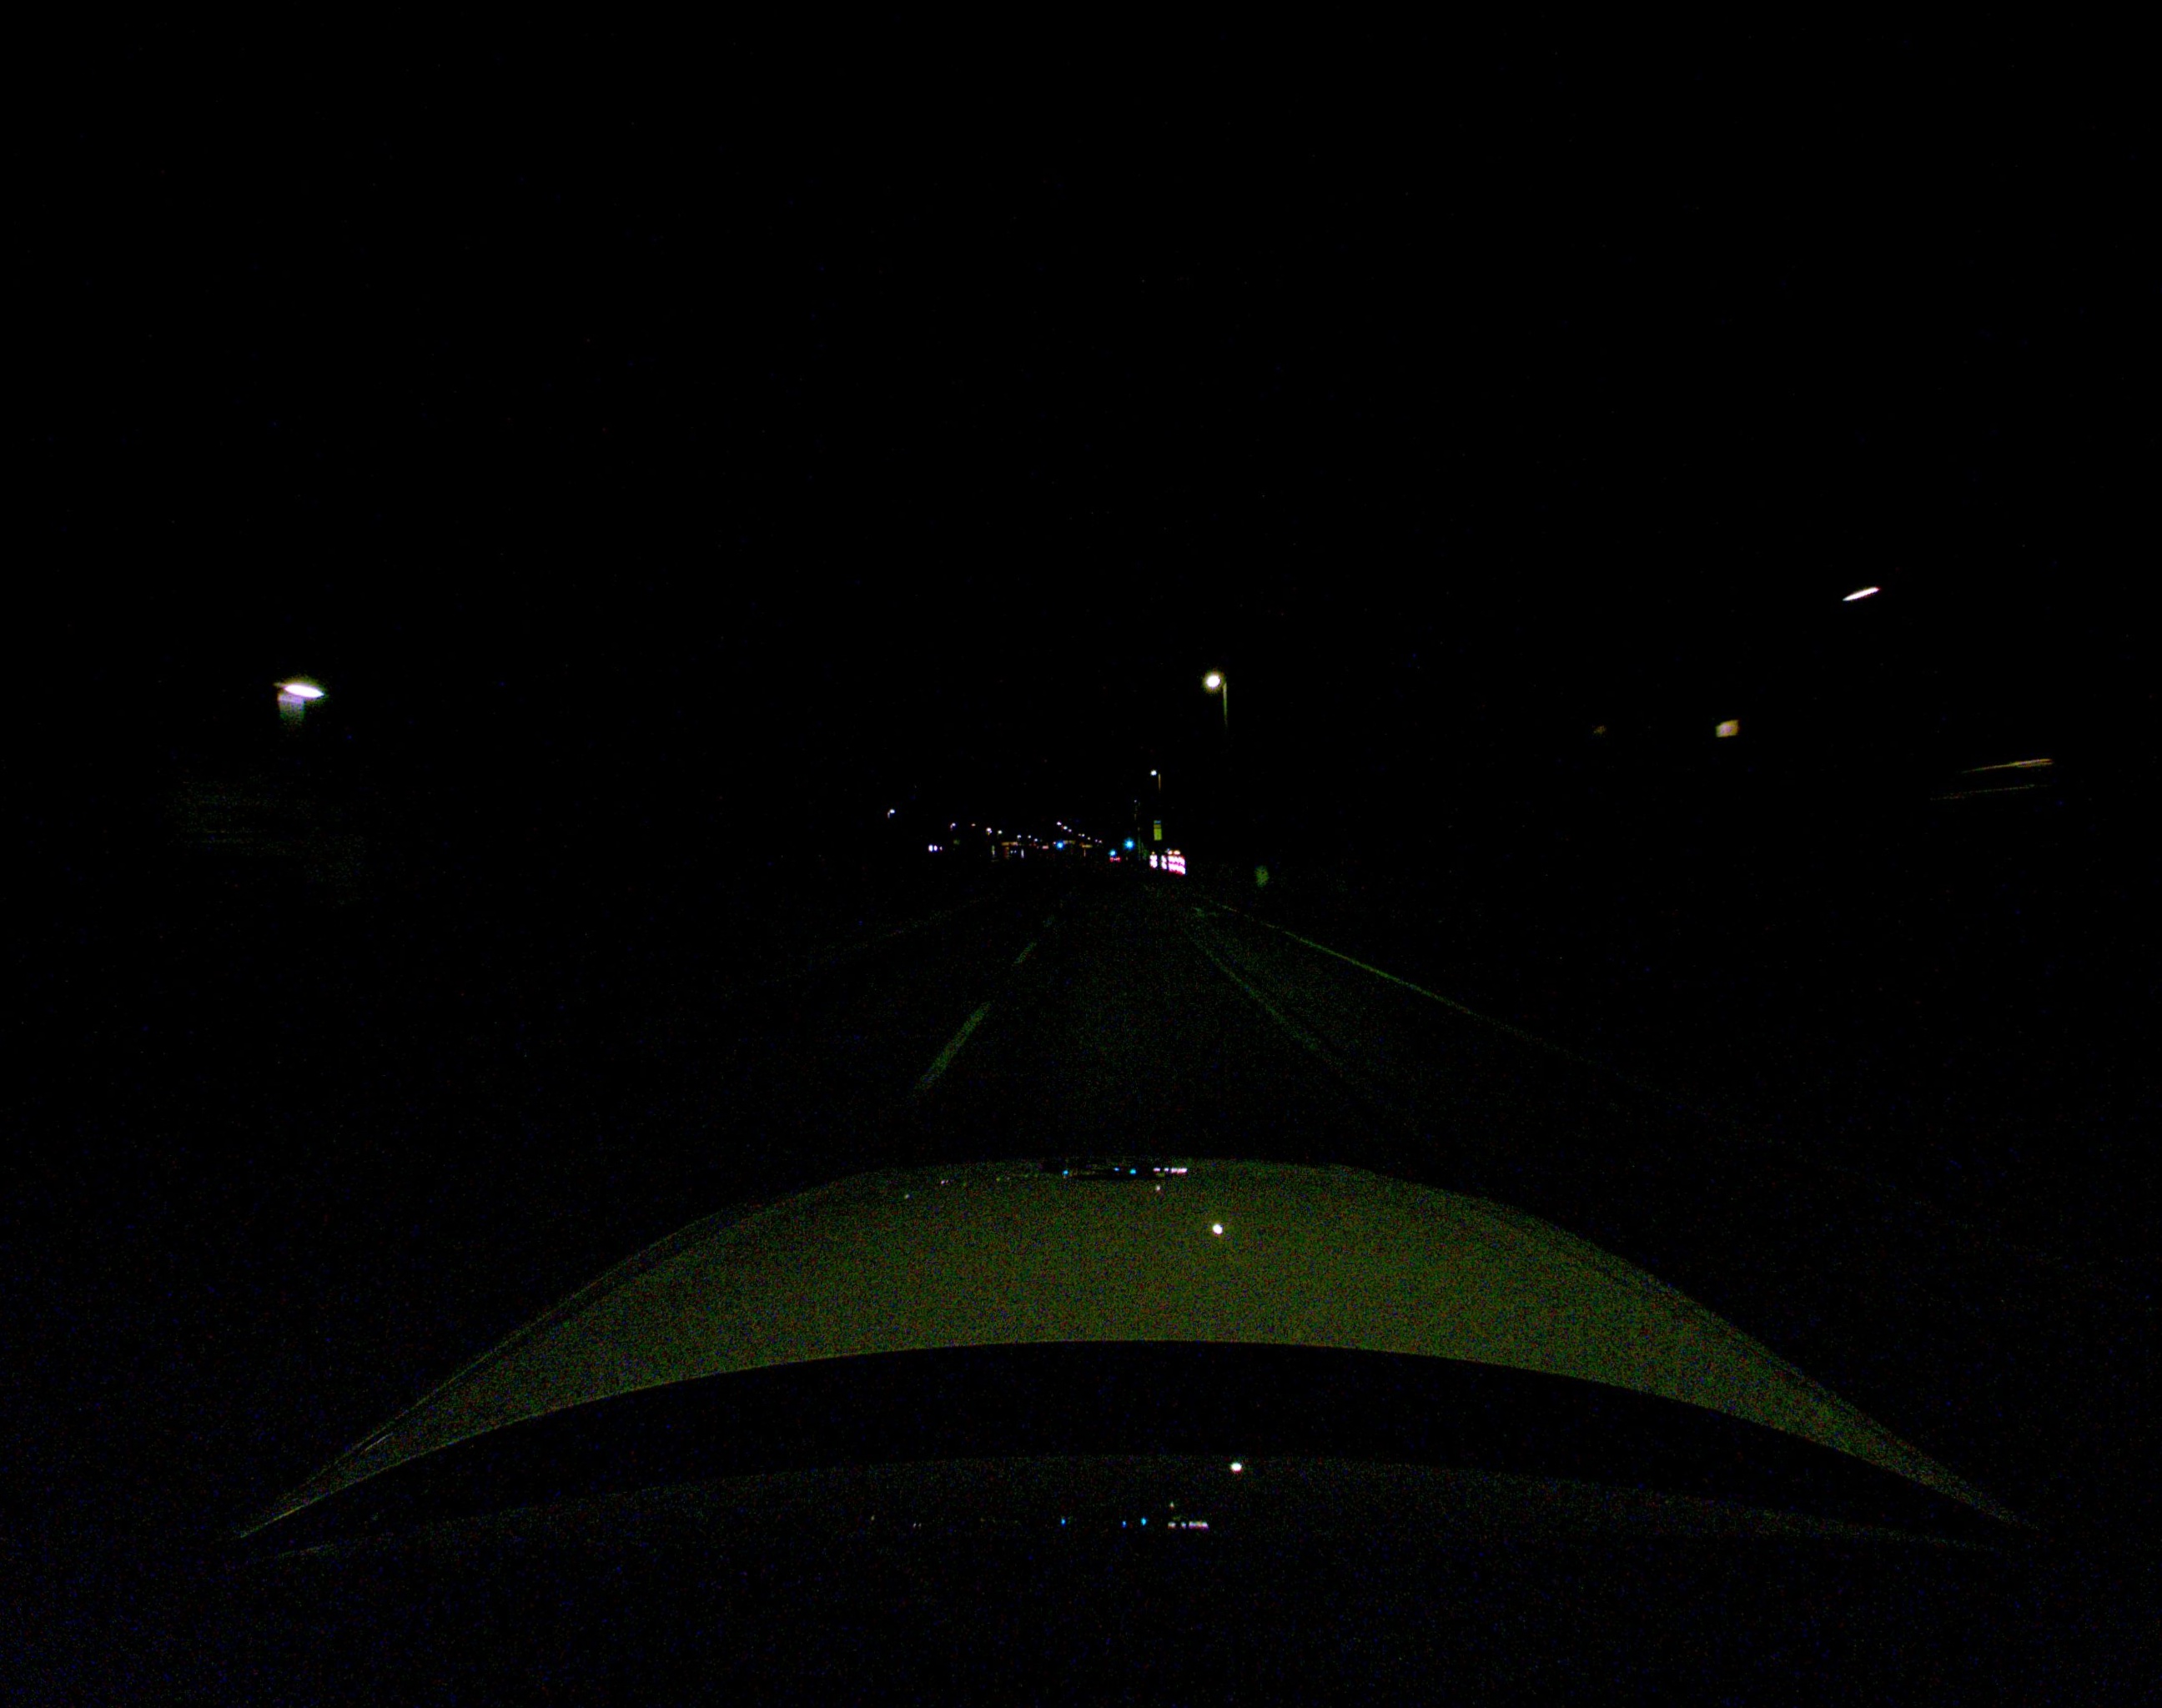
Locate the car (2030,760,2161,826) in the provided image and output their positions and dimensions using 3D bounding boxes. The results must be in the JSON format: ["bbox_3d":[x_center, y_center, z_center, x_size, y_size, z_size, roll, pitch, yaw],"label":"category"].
[{"bbox_3d":[33.470,-1.969,25.955,4.185,1.837,1.956,-4,0,-2],"label":"car"}]

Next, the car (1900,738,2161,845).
[{"bbox_3d":[19.711,-1.179,16.598,1.943,1.837,4.118,-4,0,3],"label":"car"}]

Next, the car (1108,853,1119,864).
[{"bbox_3d":[6.378,0.831,158.393,2.079,2.013,4.003,-2,0,2],"label":"car"}]
